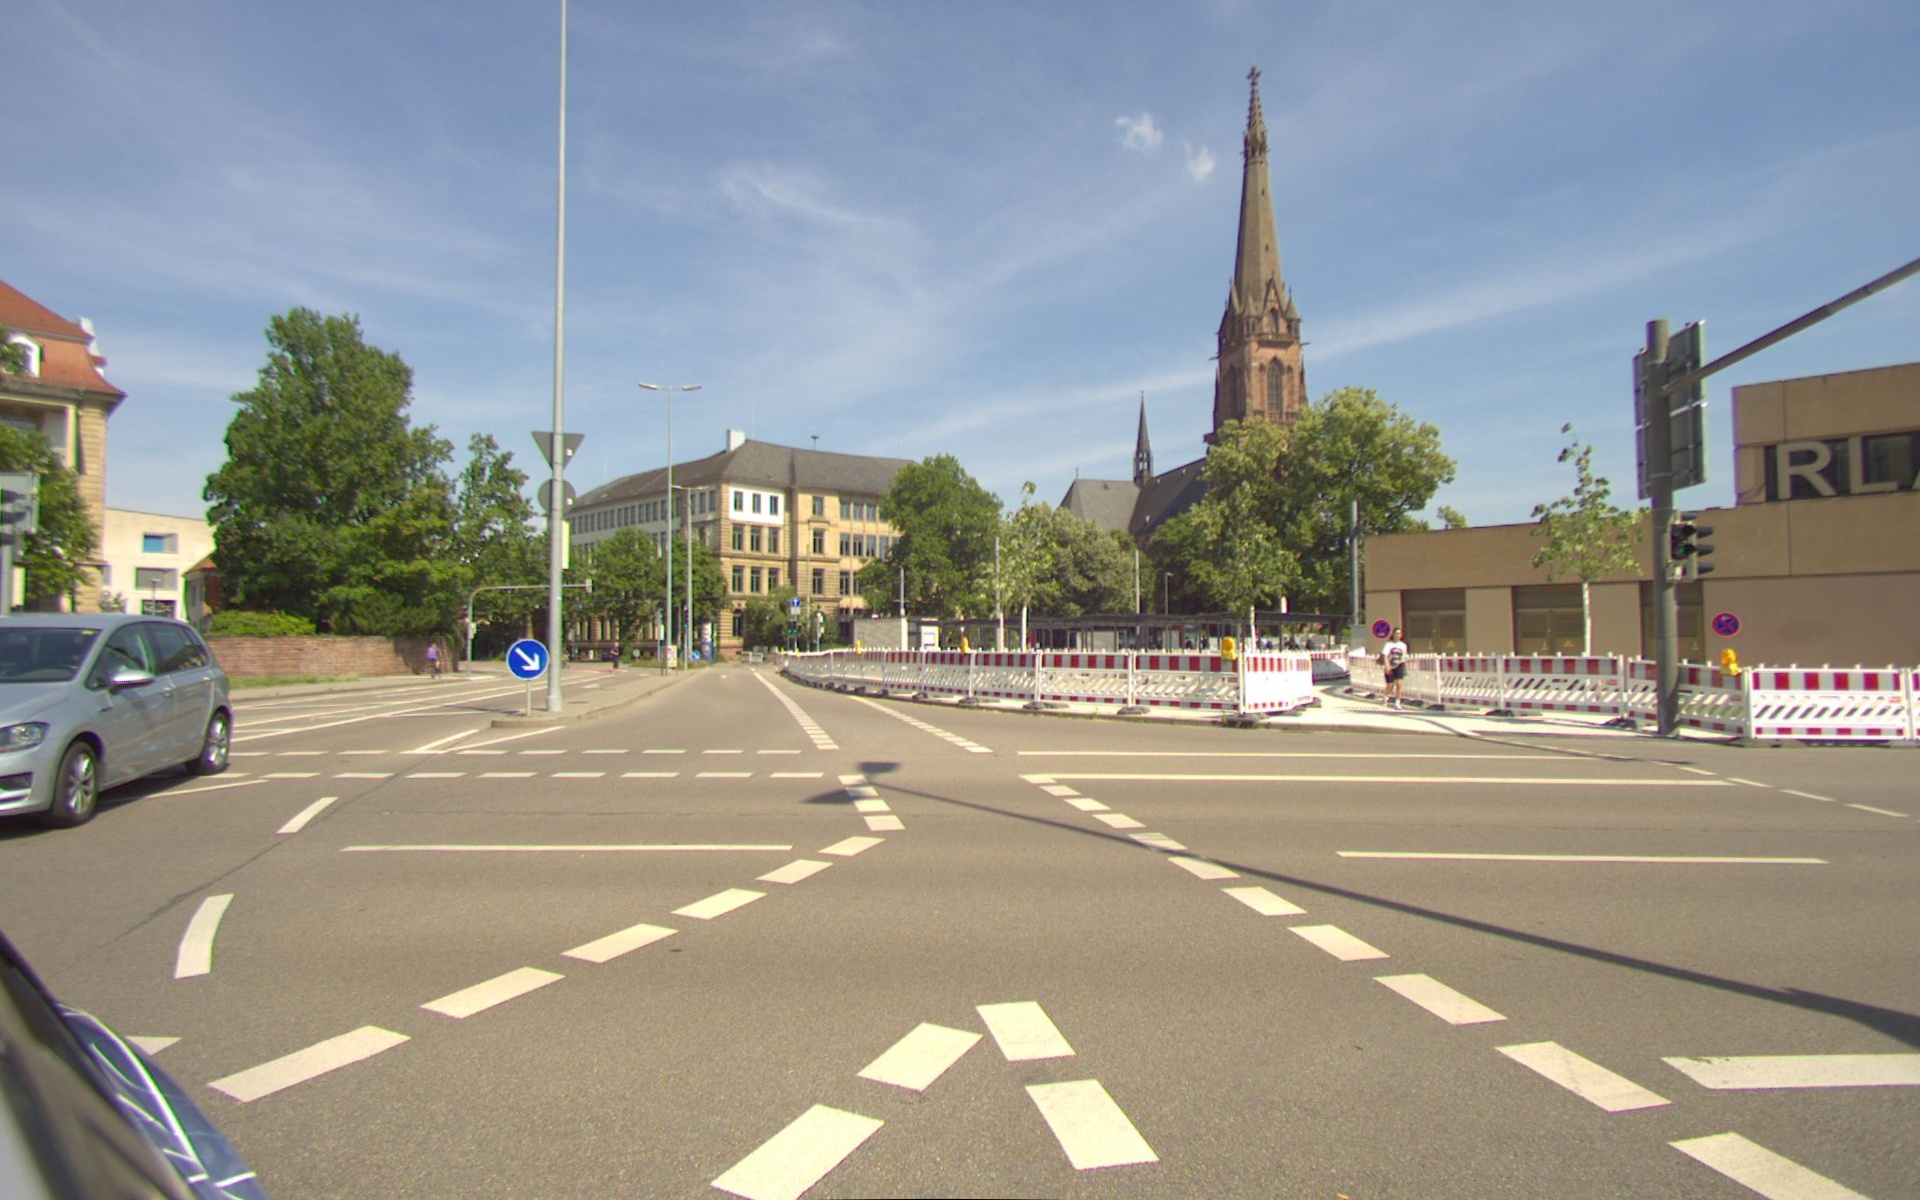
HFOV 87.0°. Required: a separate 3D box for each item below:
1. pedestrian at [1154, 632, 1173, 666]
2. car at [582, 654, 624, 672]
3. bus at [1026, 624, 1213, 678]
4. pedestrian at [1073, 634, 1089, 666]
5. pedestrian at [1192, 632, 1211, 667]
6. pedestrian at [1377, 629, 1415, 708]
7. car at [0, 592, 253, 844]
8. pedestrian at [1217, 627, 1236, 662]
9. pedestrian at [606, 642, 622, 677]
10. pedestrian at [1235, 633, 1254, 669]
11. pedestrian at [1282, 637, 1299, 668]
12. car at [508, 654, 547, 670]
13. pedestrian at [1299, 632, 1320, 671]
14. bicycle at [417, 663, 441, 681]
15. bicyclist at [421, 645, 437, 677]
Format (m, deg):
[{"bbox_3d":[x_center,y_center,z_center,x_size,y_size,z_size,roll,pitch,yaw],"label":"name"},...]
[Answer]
[{"bbox_3d":[12.168,2.945,60.518,0.820,2.029,0.677,-3,-4,42],"label":"pedestrian"},{"bbox_3d":[-39.470,6.972,112.006,2.000,1.674,3.944,-1,0,42],"label":"car"},{"bbox_3d":[10.234,3.446,66.720,12.406,3.117,3.090,-5,-3,41],"label":"bus"},{"bbox_3d":[7.689,3.182,64.185,0.807,2.029,0.688,0,-3,-10],"label":"pedestrian"},{"bbox_3d":[13.963,2.855,58.479,0.808,2.029,0.687,3,-4,-43],"label":"pedestrian"},{"bbox_3d":[8.806,1.378,20.453,0.551,1.577,0.423,0,-3,4],"label":"pedestrian"},{"bbox_3d":[-7.465,0.818,8.185,1.660,1.598,4.164,1,-2,-17],"label":"car"},{"bbox_3d":[15.374,2.556,58.366,0.808,2.029,0.687,2,-3,-43],"label":"pedestrian"},{"bbox_3d":[-20.654,3.541,60.387,0.781,2.029,0.618,1,-4,-28],"label":"pedestrian"},{"bbox_3d":[16.307,2.906,58.028,0.808,2.029,0.687,3,-4,-43],"label":"pedestrian"},{"bbox_3d":[18.132,2.881,55.553,0.742,1.674,0.812,-2,-4,29],"label":"pedestrian"},{"bbox_3d":[-53.535,7.656,125.223,1.999,1.674,3.945,-1,0,41],"label":"car"},{"bbox_3d":[18.401,2.701,53.326,0.807,2.029,0.688,2,-4,-38],"label":"pedestrian"},{"bbox_3d":[-27.502,3.725,52.404,0.674,0.894,1.938,1,-3,-15],"label":"bicycle"},{"bbox_3d":[-27.668,3.168,52.754,0.480,1.649,1.088,1,-3,-16],"label":"bicyclist"}]
